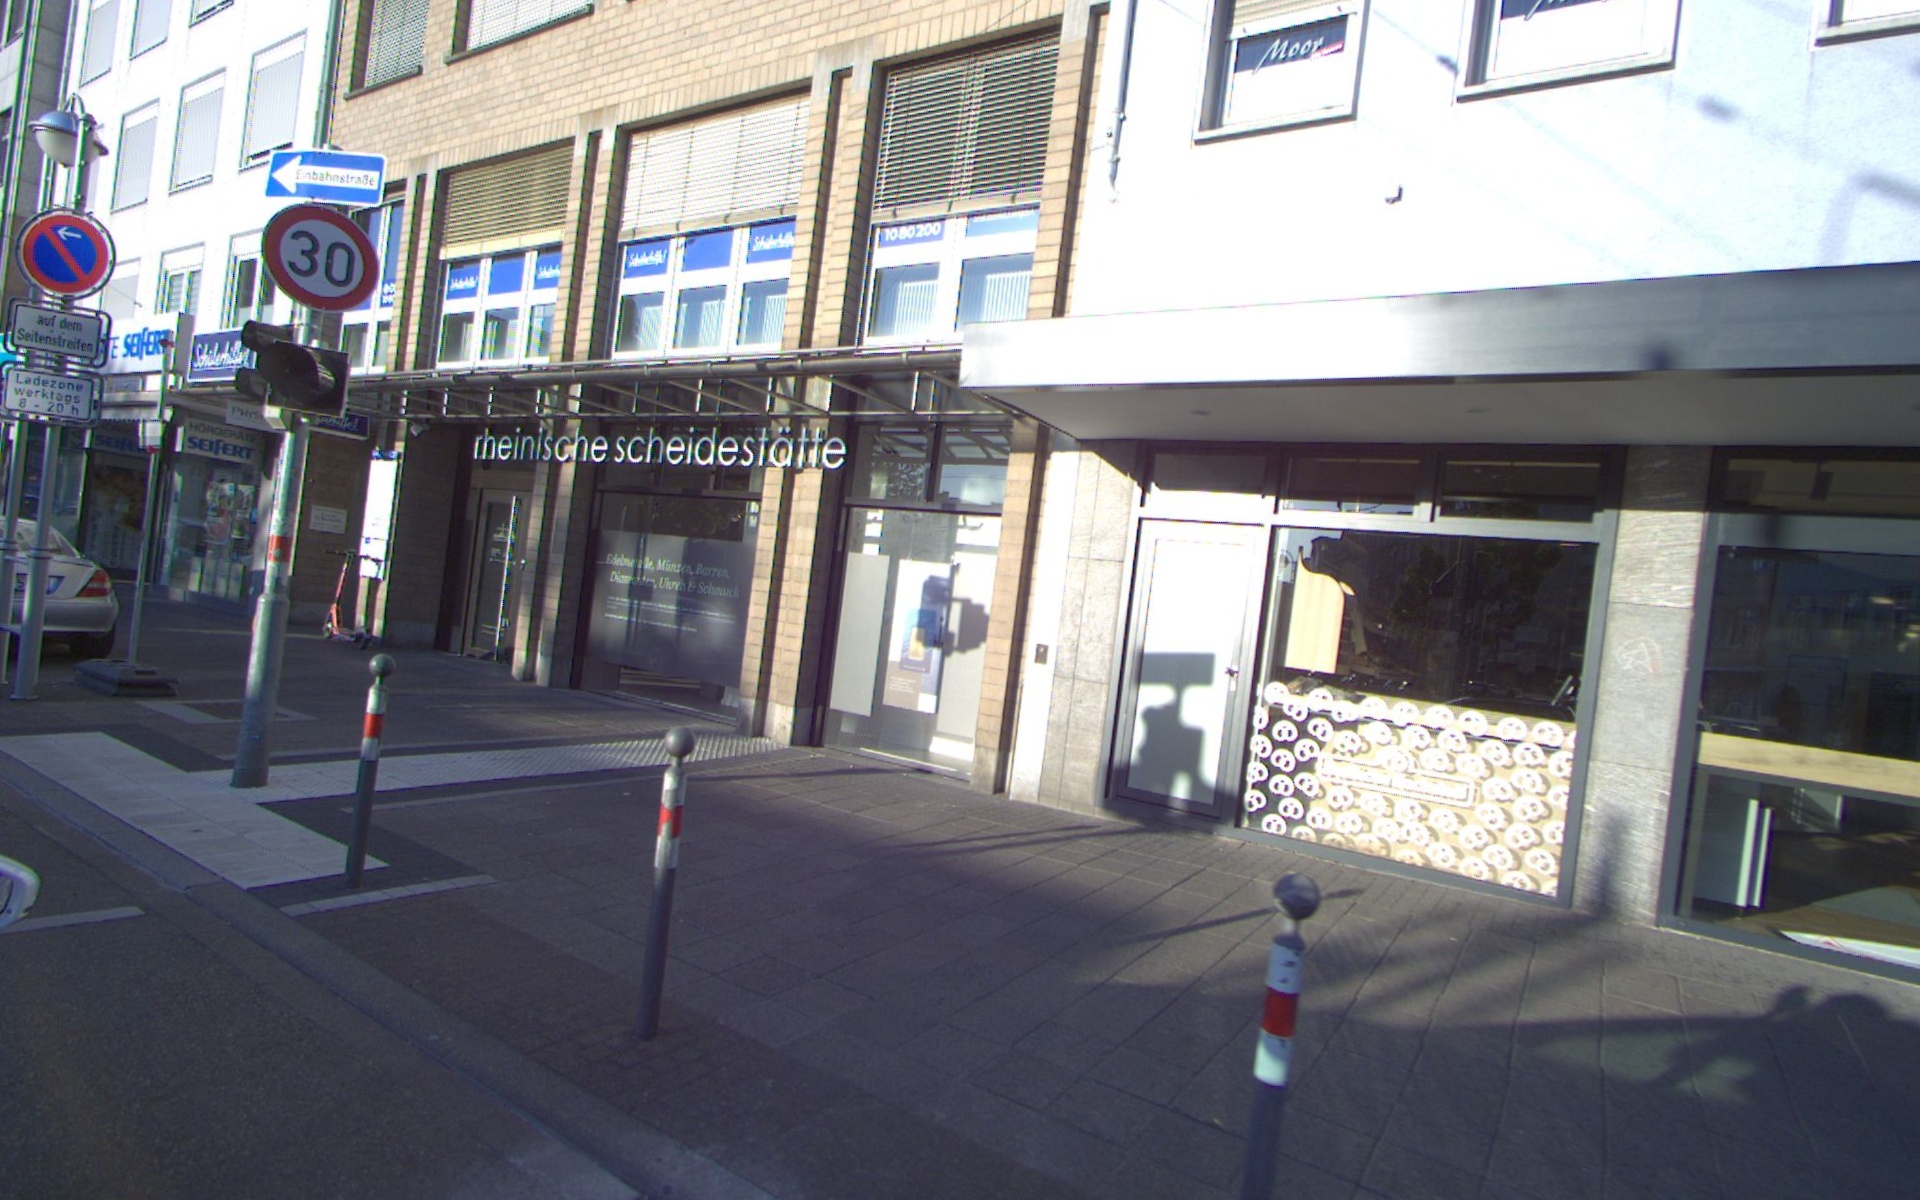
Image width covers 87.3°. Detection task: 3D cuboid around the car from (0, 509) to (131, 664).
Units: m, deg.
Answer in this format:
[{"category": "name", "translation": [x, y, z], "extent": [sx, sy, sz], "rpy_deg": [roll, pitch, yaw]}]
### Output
[{"category": "car", "translation": [-9.862, -0.293, 9.862], "extent": [4.001, 1.298, 1.674], "rpy_deg": [6, -1, 36]}]

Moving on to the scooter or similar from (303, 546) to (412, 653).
[{"category": "scooter or similar", "translation": [-7.822, -0.017, 13.044], "extent": [1.546, 1.197, 0.460], "rpy_deg": [7, 0, 33]}]
